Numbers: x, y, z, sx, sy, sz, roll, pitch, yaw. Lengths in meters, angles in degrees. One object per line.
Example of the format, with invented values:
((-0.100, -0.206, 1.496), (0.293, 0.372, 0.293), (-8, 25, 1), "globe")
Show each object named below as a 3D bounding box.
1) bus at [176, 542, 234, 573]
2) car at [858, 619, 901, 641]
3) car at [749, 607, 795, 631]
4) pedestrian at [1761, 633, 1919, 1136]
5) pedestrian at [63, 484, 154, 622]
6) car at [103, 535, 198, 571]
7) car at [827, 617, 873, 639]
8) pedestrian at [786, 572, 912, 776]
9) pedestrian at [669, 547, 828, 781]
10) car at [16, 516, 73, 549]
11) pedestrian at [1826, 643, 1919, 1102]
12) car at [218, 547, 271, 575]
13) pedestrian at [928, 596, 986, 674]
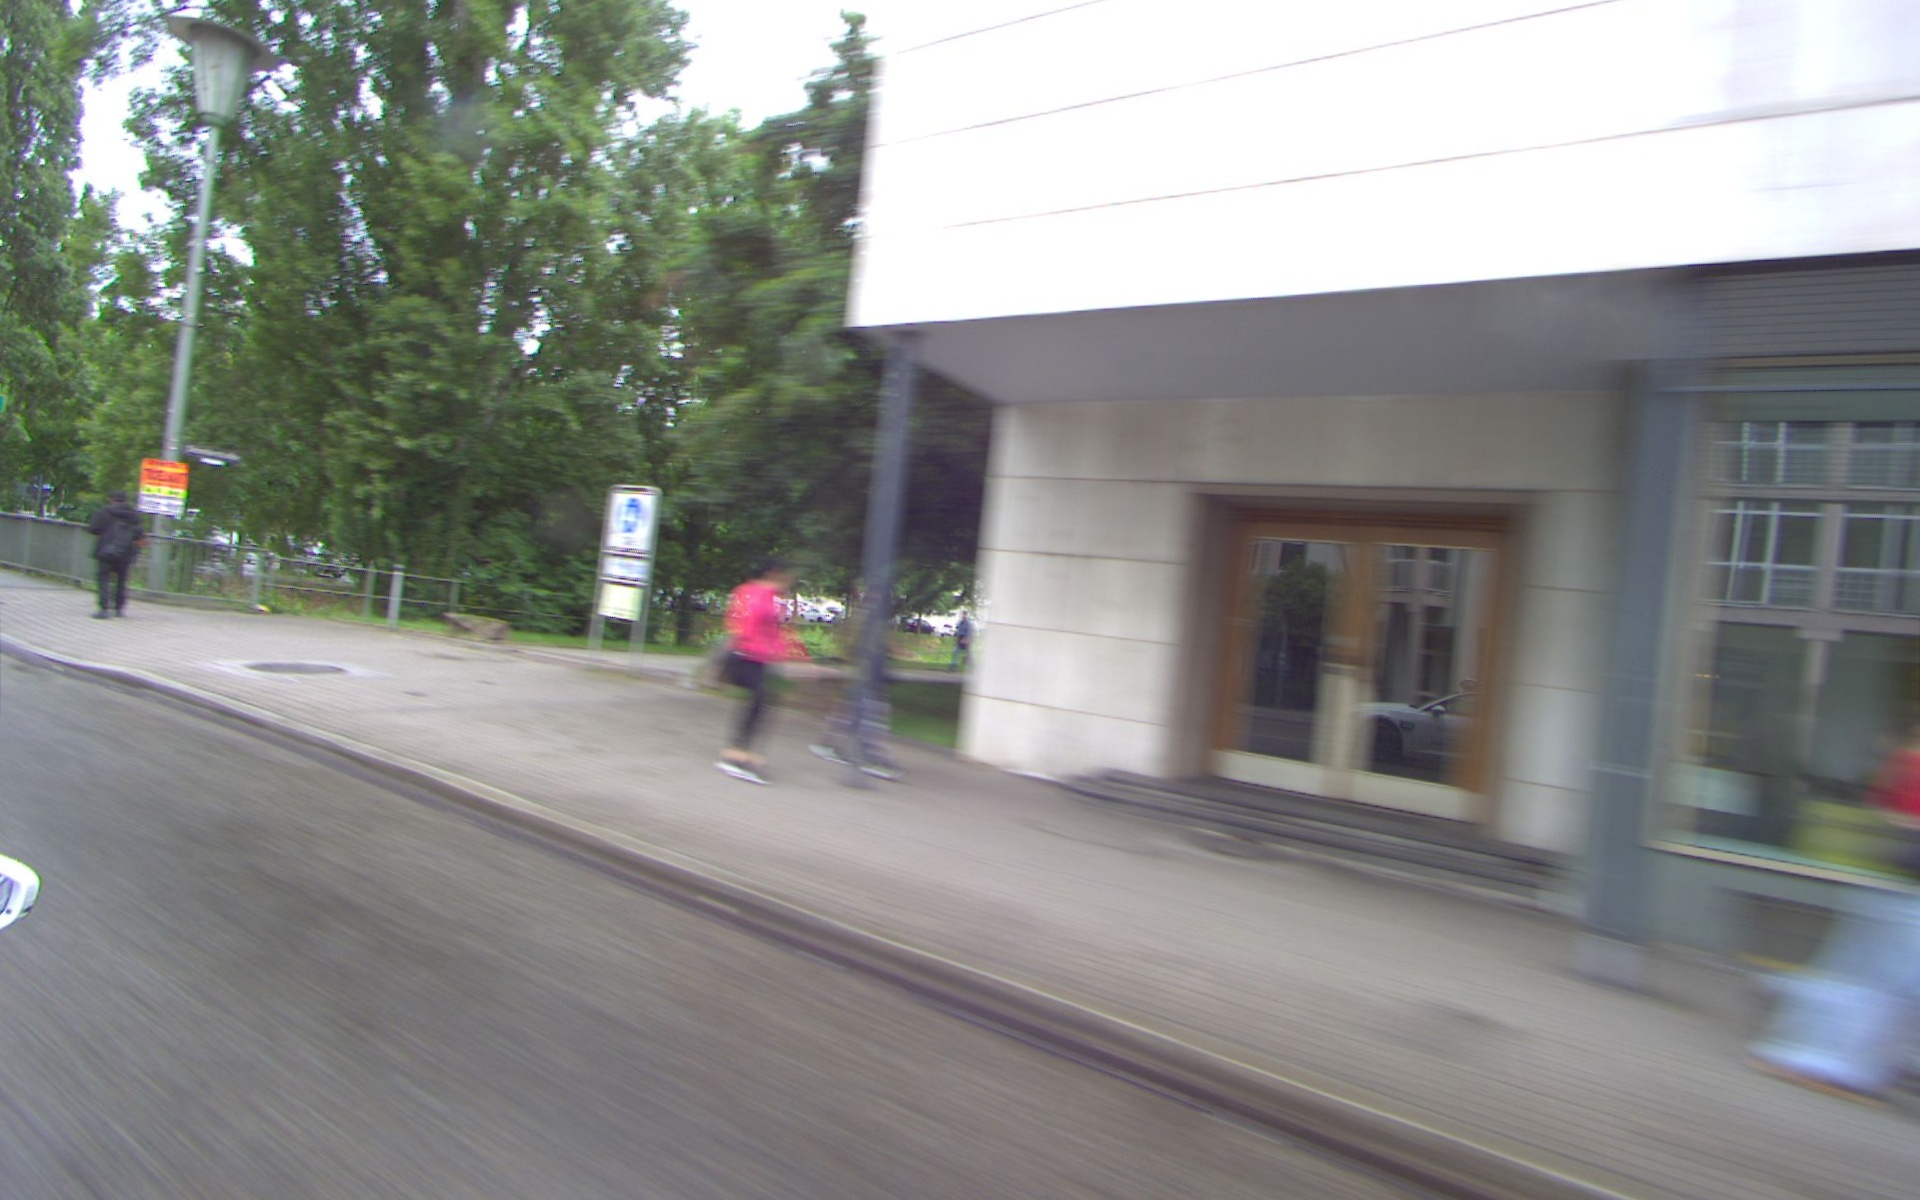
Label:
((-52.824, -2.970, 70.350), (3.937, 1.743, 1.996), (5, -3, 35), "bus")
((-7.884, 2.963, 98.837), (1.970, 1.564, 3.991), (5, -3, 36), "car")
((-18.361, 1.853, 98.323), (3.931, 1.837, 1.999), (6, -2, 28), "car")
((3.793, 1.073, 3.852), (0.907, 1.789, 0.654), (6, 1, 32), "pedestrian")
((-11.038, -0.598, 13.049), (0.554, 1.685, 0.640), (8, 1, 31), "pedestrian")
((-50.397, -2.919, 62.731), (1.775, 1.640, 4.131), (6, -2, 28), "car")
((-10.165, 2.603, 93.360), (1.970, 1.564, 3.991), (5, -3, 36), "car")
((-0.935, 0.616, 8.558), (0.596, 1.609, 0.726), (6, 1, 32), "pedestrian")
((-1.610, 0.470, 7.694), (0.757, 1.640, 0.717), (6, 1, 32), "pedestrian")
((-68.427, -5.048, 75.166), (3.664, 2.034, 1.909), (3, -6, 30), "car")
((4.207, 1.128, 4.227), (0.596, 1.824, 0.698), (6, 1, 32), "pedestrian")
((-52.093, -2.839, 73.234), (3.938, 1.669, 1.821), (5, -3, 35), "car")
((-0.084, 0.990, 28.227), (1.005, 2.034, 1.117), (3, -5, 32), "pedestrian")
